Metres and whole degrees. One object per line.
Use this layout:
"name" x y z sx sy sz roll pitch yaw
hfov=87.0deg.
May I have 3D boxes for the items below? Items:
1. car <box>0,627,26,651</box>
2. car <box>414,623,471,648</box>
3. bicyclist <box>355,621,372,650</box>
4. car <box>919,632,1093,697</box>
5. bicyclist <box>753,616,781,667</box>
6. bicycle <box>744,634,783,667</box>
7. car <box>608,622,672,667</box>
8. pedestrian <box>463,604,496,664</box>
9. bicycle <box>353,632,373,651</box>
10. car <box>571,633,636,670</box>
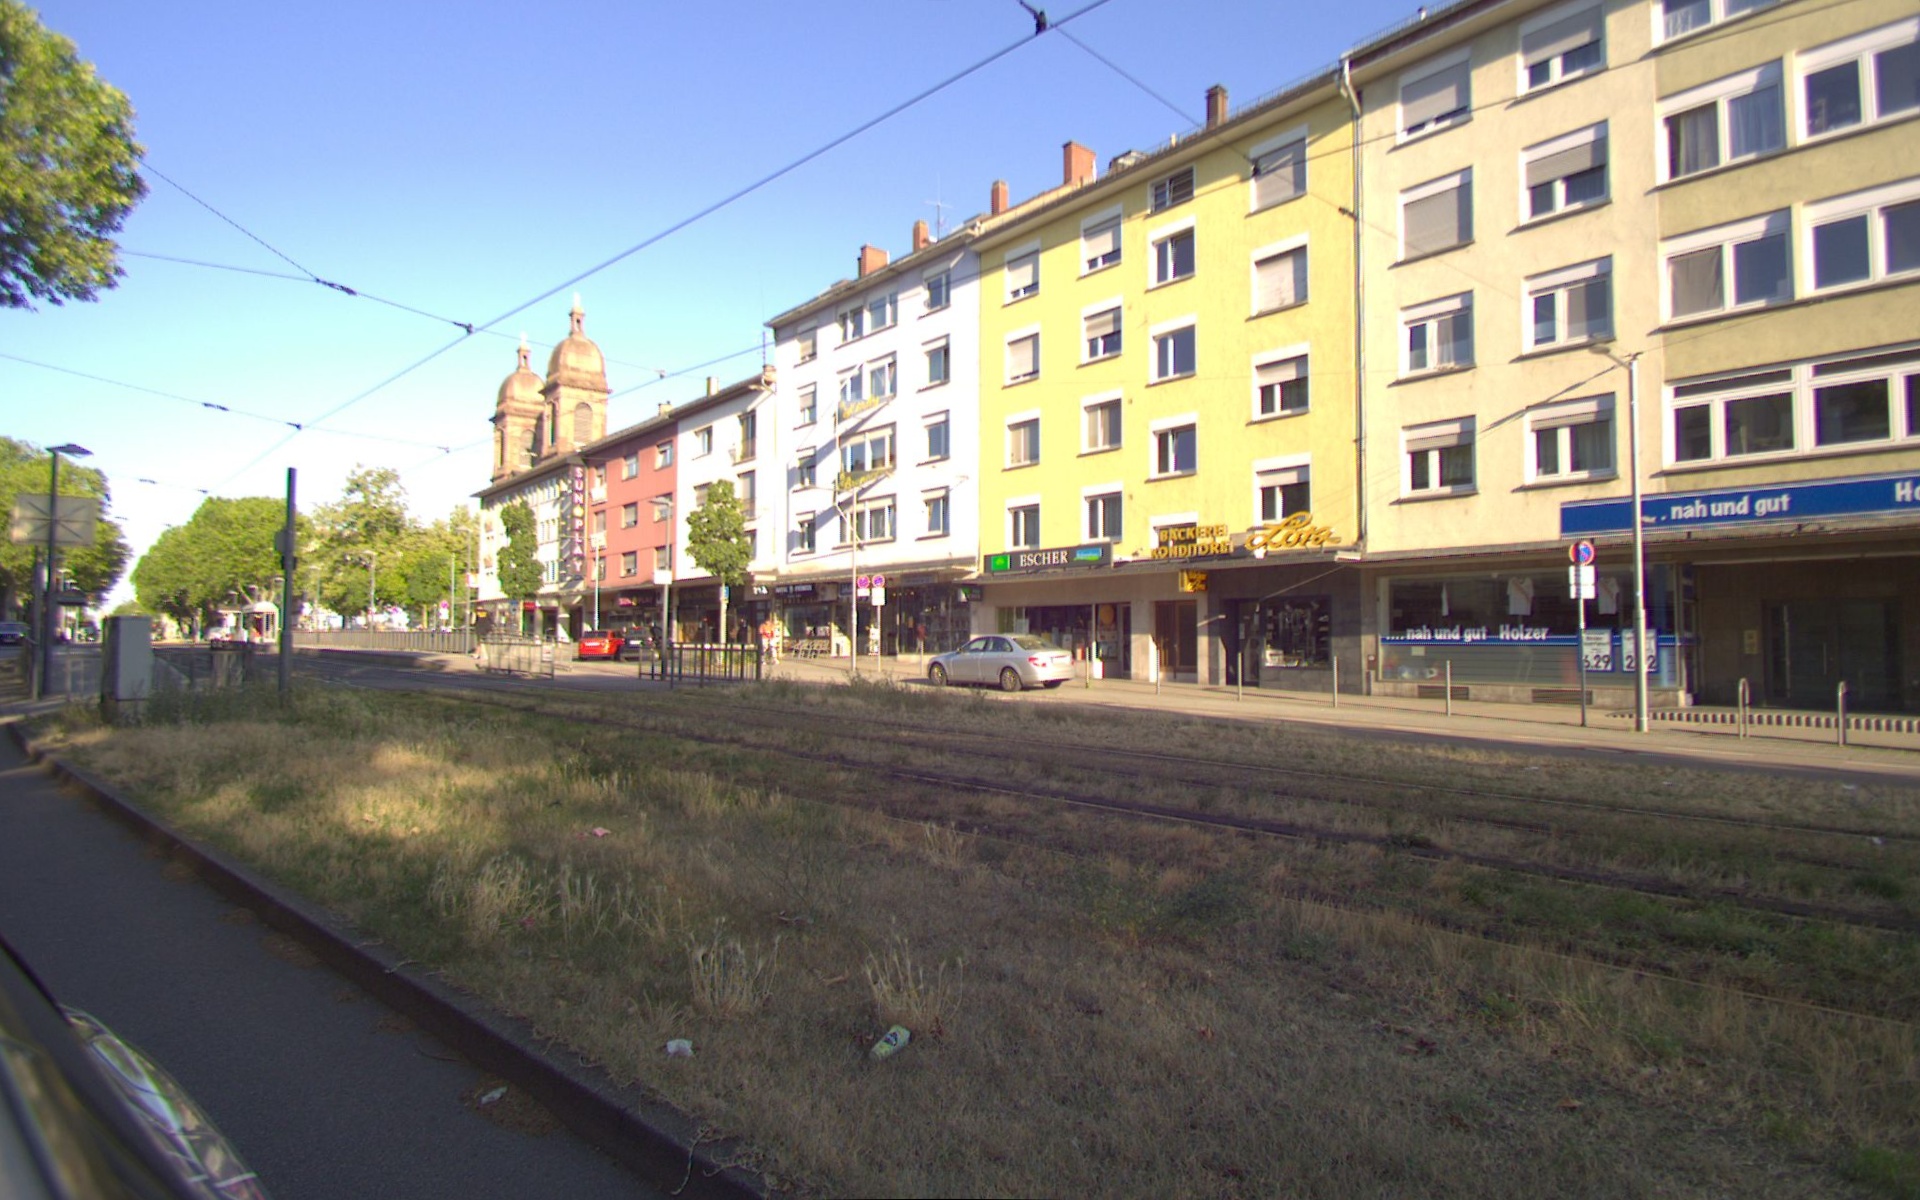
"car" -57.909 2.367 61.398 4.002 1.409 1.694 -1 -1 45
"car" -34.625 2.346 67.794 1.720 1.497 3.998 -1 -1 1
"bicyclist" -40.887 2.437 69.347 0.754 2.029 0.912 3 -4 -42
"car" 1.130 1.637 26.676 1.970 1.489 4.414 0 -1 -44
"bicyclist" -7.318 1.548 38.400 0.683 1.901 1.060 0 -2 -32
"bicycle" -7.520 1.918 38.677 0.696 1.168 2.204 -2 -1 -33
"car" -14.158 1.942 44.958 1.836 1.813 3.773 -1 0 -3
"pedestrian" -15.065 1.058 31.715 0.590 1.863 0.733 -2 -3 43
"bicycle" -40.879 2.839 69.307 0.709 1.239 2.281 3 -4 -42
"car" -16.349 2.339 46.581 1.836 1.502 3.773 -1 0 -3
